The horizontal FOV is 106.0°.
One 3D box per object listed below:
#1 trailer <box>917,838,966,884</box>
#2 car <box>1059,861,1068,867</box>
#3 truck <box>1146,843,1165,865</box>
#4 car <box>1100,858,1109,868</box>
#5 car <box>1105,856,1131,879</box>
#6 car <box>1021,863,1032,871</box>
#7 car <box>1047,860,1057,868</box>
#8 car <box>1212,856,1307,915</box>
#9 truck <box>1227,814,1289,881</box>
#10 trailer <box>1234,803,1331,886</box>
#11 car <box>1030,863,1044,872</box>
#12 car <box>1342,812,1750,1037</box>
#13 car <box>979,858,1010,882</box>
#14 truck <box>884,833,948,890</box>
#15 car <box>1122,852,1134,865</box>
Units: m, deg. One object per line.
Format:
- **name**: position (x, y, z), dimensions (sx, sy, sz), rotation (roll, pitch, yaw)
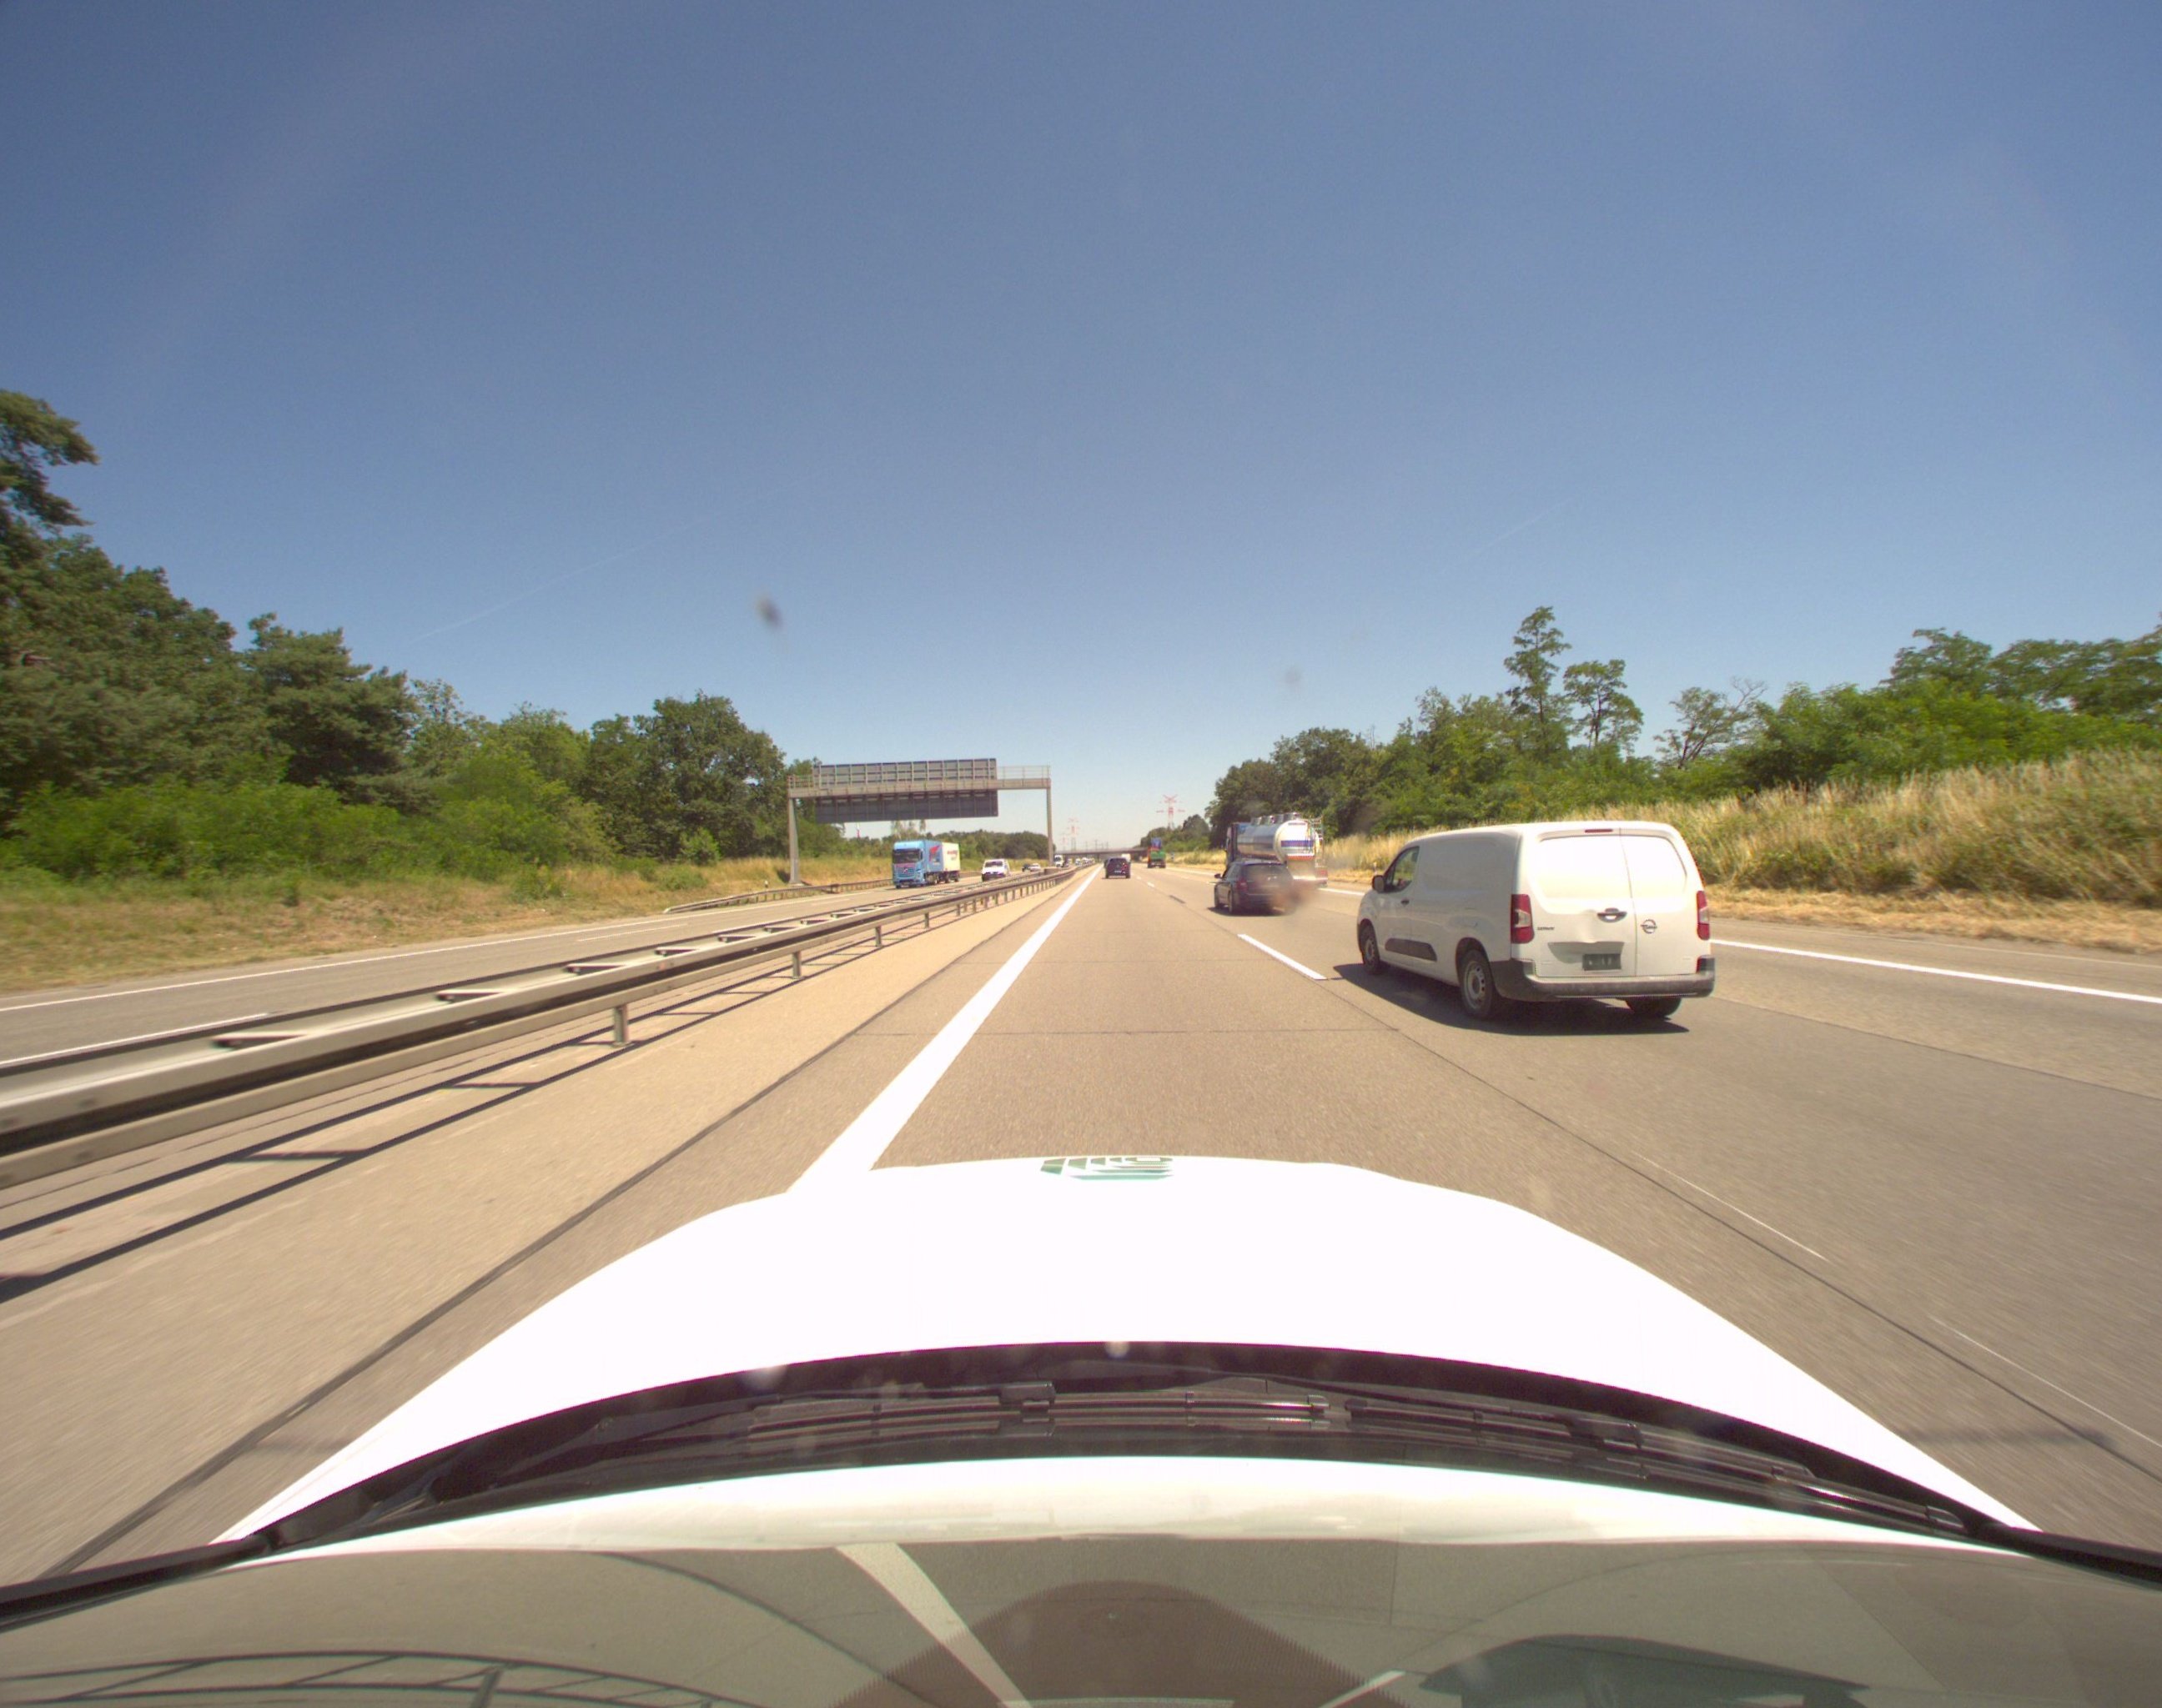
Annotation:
- **trailer**: position (-14.115, 0.726, 82.885), dimensions (3.046, 4.283, 8.638), rotation (-2, 0, 2)
- **car**: position (-4.619, 2.645, 218.299), dimensions (1.955, 1.525, 5.291), rotation (-3, -1, 1)
- **truck**: position (13.073, 0.052, 143.410), dimensions (2.670, 3.798, 12.483), rotation (0, 0, 2)
- **car**: position (4.471, 1.730, 154.843), dimensions (1.787, 1.750, 4.001), rotation (0, 0, 2)
- **car**: position (2.967, 1.077, 65.979), dimensions (1.986, 1.750, 4.001), rotation (0, 0, 2)
- **car**: position (-11.276, 2.750, 169.403), dimensions (1.825, 1.554, 4.951), rotation (-3, -1, 1)
- **car**: position (-6.651, 2.348, 185.355), dimensions (1.955, 1.718, 5.291), rotation (-3, -1, 1)
- **car**: position (4.869, 0.818, 22.810), dimensions (1.795, 1.483, 4.273), rotation (0, 0, 1)
- **truck**: position (10.381, -0.333, 48.391), dimensions (2.519, 3.734, 6.101), rotation (0, -1, 2)
- **trailer**: position (10.192, -0.375, 42.599), dimensions (2.519, 3.734, 11.553), rotation (0, 0, 2)
- **car**: position (-7.549, 2.242, 140.505), dimensions (1.798, 1.396, 4.485), rotation (-3, -1, 4)
- **car**: position (4.570, 0.590, 9.105), dimensions (1.859, 1.817, 4.942), rotation (0, 0, 2)
- **car**: position (-7.119, 1.294, 67.630), dimensions (1.825, 1.854, 5.238), rotation (-3, -1, 1)
- **truck**: position (-14.494, 0.651, 72.508), dimensions (3.046, 4.558, 10.463), rotation (-3, 0, 2)
- **car**: position (10.359, 1.027, 179.147), dimensions (2.611, 2.759, 6.099), rotation (0, 0, 2)
